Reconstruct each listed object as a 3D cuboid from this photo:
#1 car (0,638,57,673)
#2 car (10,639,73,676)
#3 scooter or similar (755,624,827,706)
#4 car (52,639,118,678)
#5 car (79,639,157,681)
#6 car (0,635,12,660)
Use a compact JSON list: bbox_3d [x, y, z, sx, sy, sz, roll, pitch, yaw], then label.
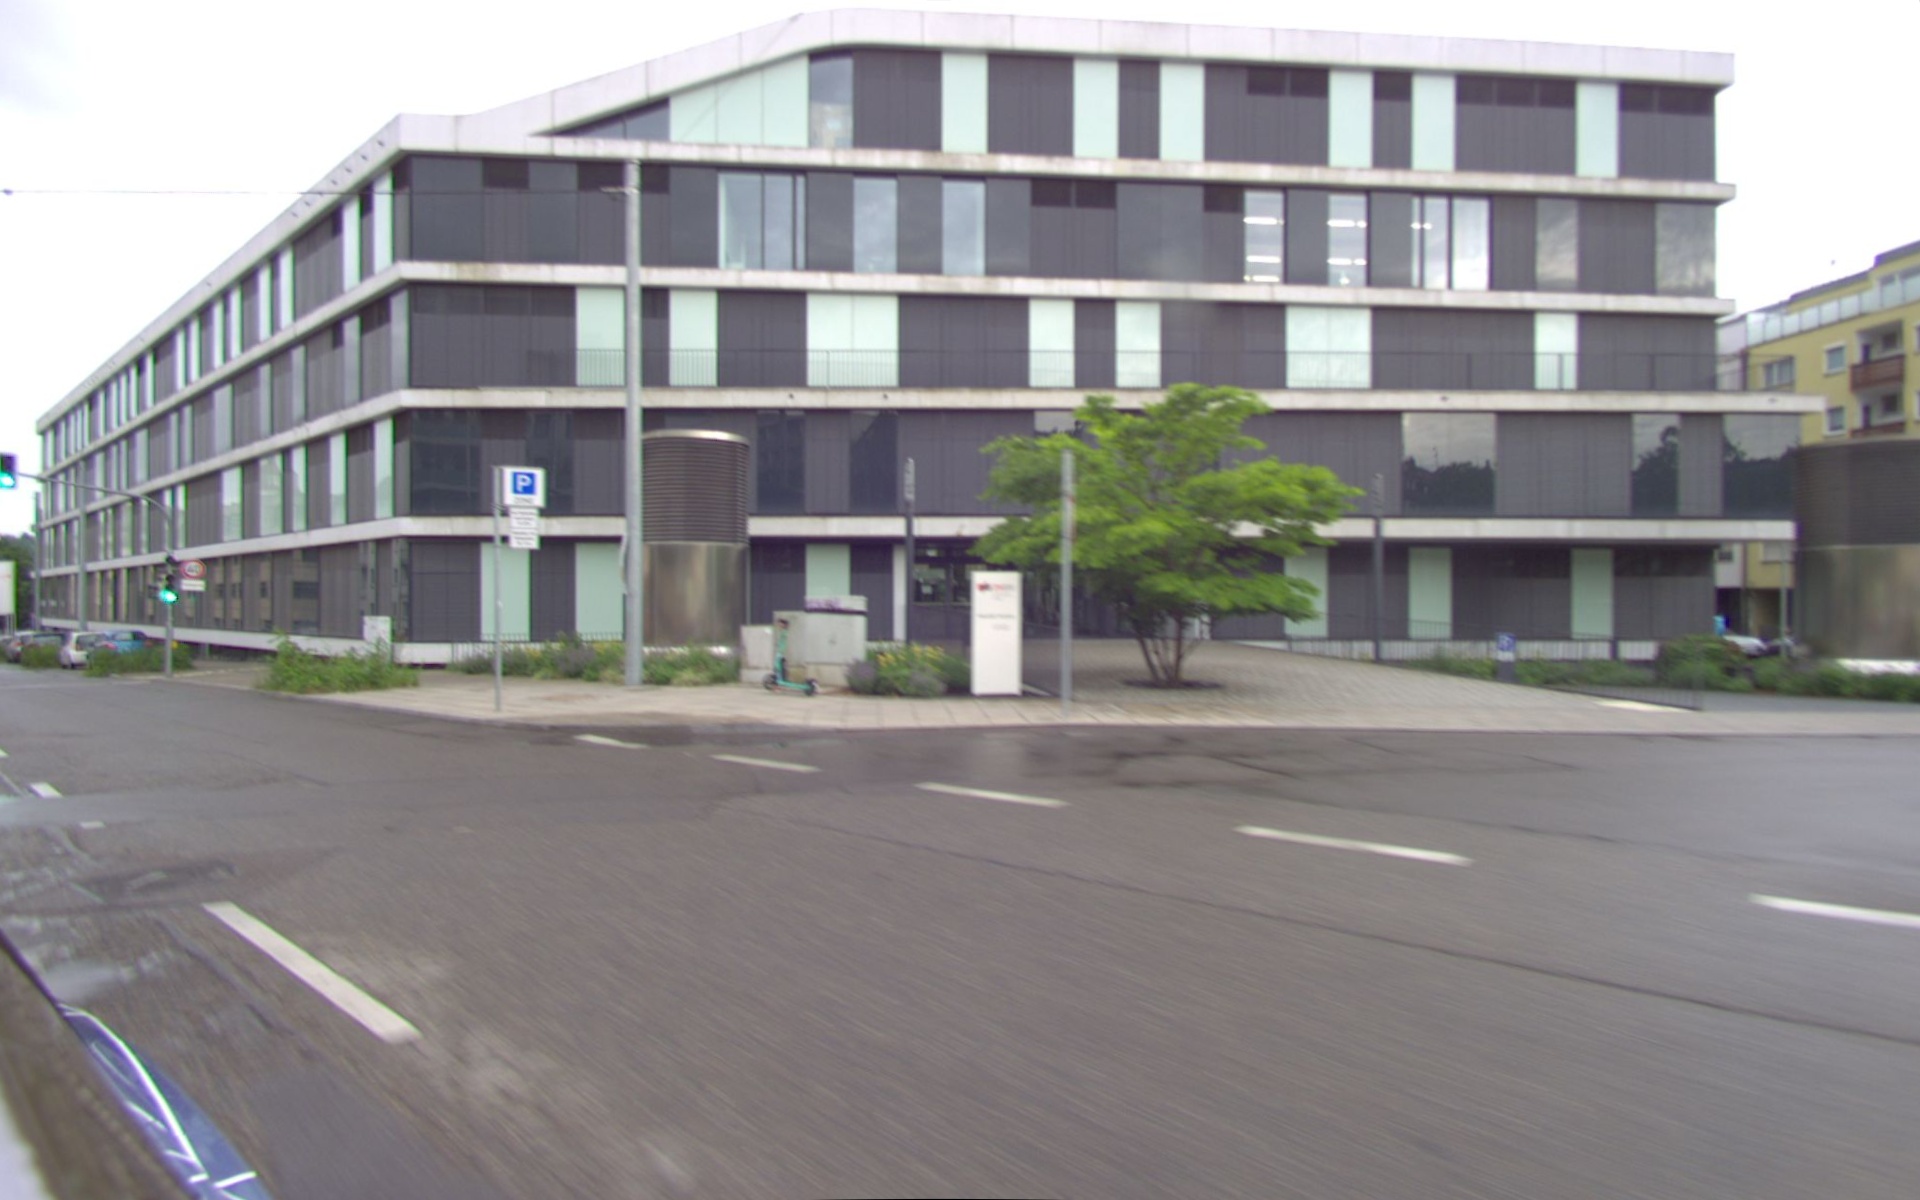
[{"bbox_3d":[-48.145,2.852,52.194,4.361,1.601,1.811,-3,0,41],"label":"car"},{"bbox_3d":[-43.782,2.705,48.235,4.363,1.601,1.862,-3,0,43],"label":"car"},{"bbox_3d":[-2.765,1.037,16.478,1.231,1.258,0.491,-1,0,42],"label":"scooter or similar"},{"bbox_3d":[-35.559,2.365,41.108,3.583,1.478,1.620,-3,-2,42],"label":"car"},{"bbox_3d":[-31.649,2.221,38.012,3.580,1.478,1.621,-2,-2,40],"label":"car"},{"bbox_3d":[-60.301,2.982,62.980,4.039,1.483,1.545,-3,-1,42],"label":"car"}]
